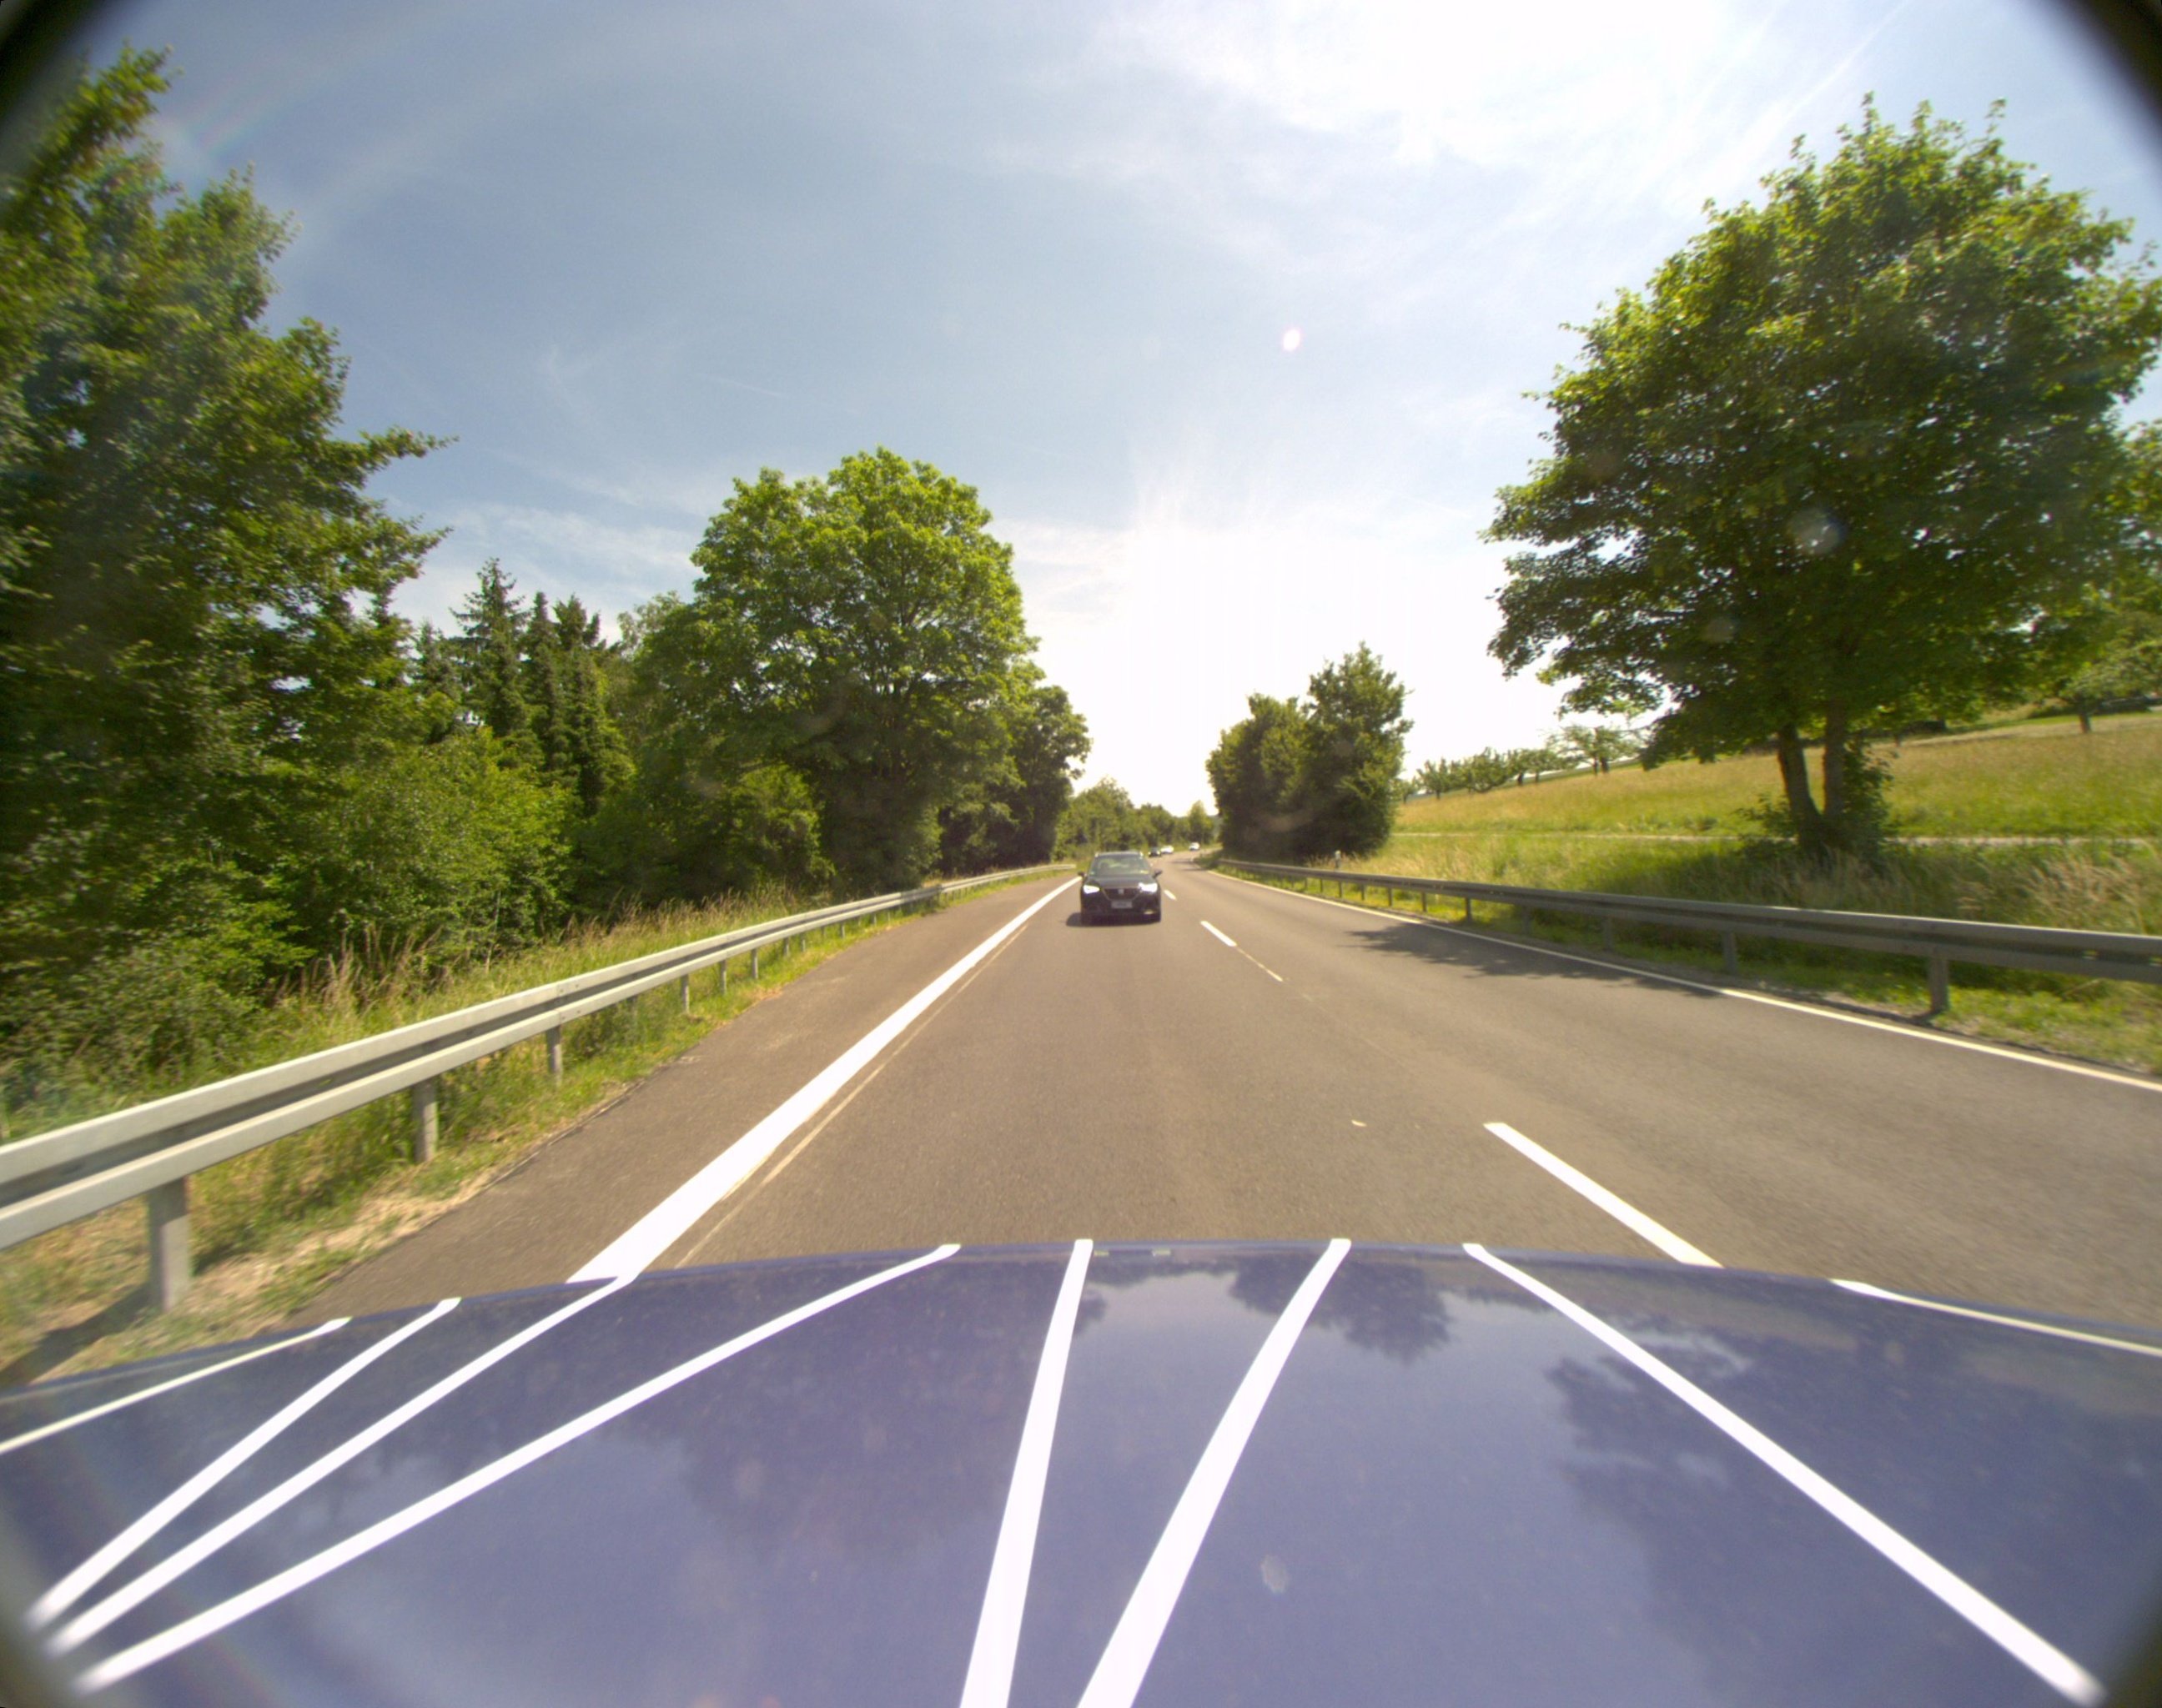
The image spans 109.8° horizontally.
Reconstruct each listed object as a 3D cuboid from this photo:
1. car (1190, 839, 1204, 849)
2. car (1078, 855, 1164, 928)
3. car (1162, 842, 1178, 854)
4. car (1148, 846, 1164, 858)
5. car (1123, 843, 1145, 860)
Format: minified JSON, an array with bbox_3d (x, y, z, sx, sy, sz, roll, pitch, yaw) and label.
[{"bbox_3d":[24.808,-2.243,162.738,1.995,2.002,4.006,-2,1,23],"label":"car"},{"bbox_3d":[0.985,0.772,17.559,1.737,1.467,4.001,-1,0,5],"label":"car"},{"bbox_3d":[15.588,-1.090,133.222,1.996,2.002,4.005,-1,1,17],"label":"car"},{"bbox_3d":[10.972,-0.244,110.841,1.882,1.698,4.003,-1,0,11],"label":"car"},{"bbox_3d":[5.623,-0.290,80.260,1.882,1.698,4.003,-1,0,10],"label":"car"}]
